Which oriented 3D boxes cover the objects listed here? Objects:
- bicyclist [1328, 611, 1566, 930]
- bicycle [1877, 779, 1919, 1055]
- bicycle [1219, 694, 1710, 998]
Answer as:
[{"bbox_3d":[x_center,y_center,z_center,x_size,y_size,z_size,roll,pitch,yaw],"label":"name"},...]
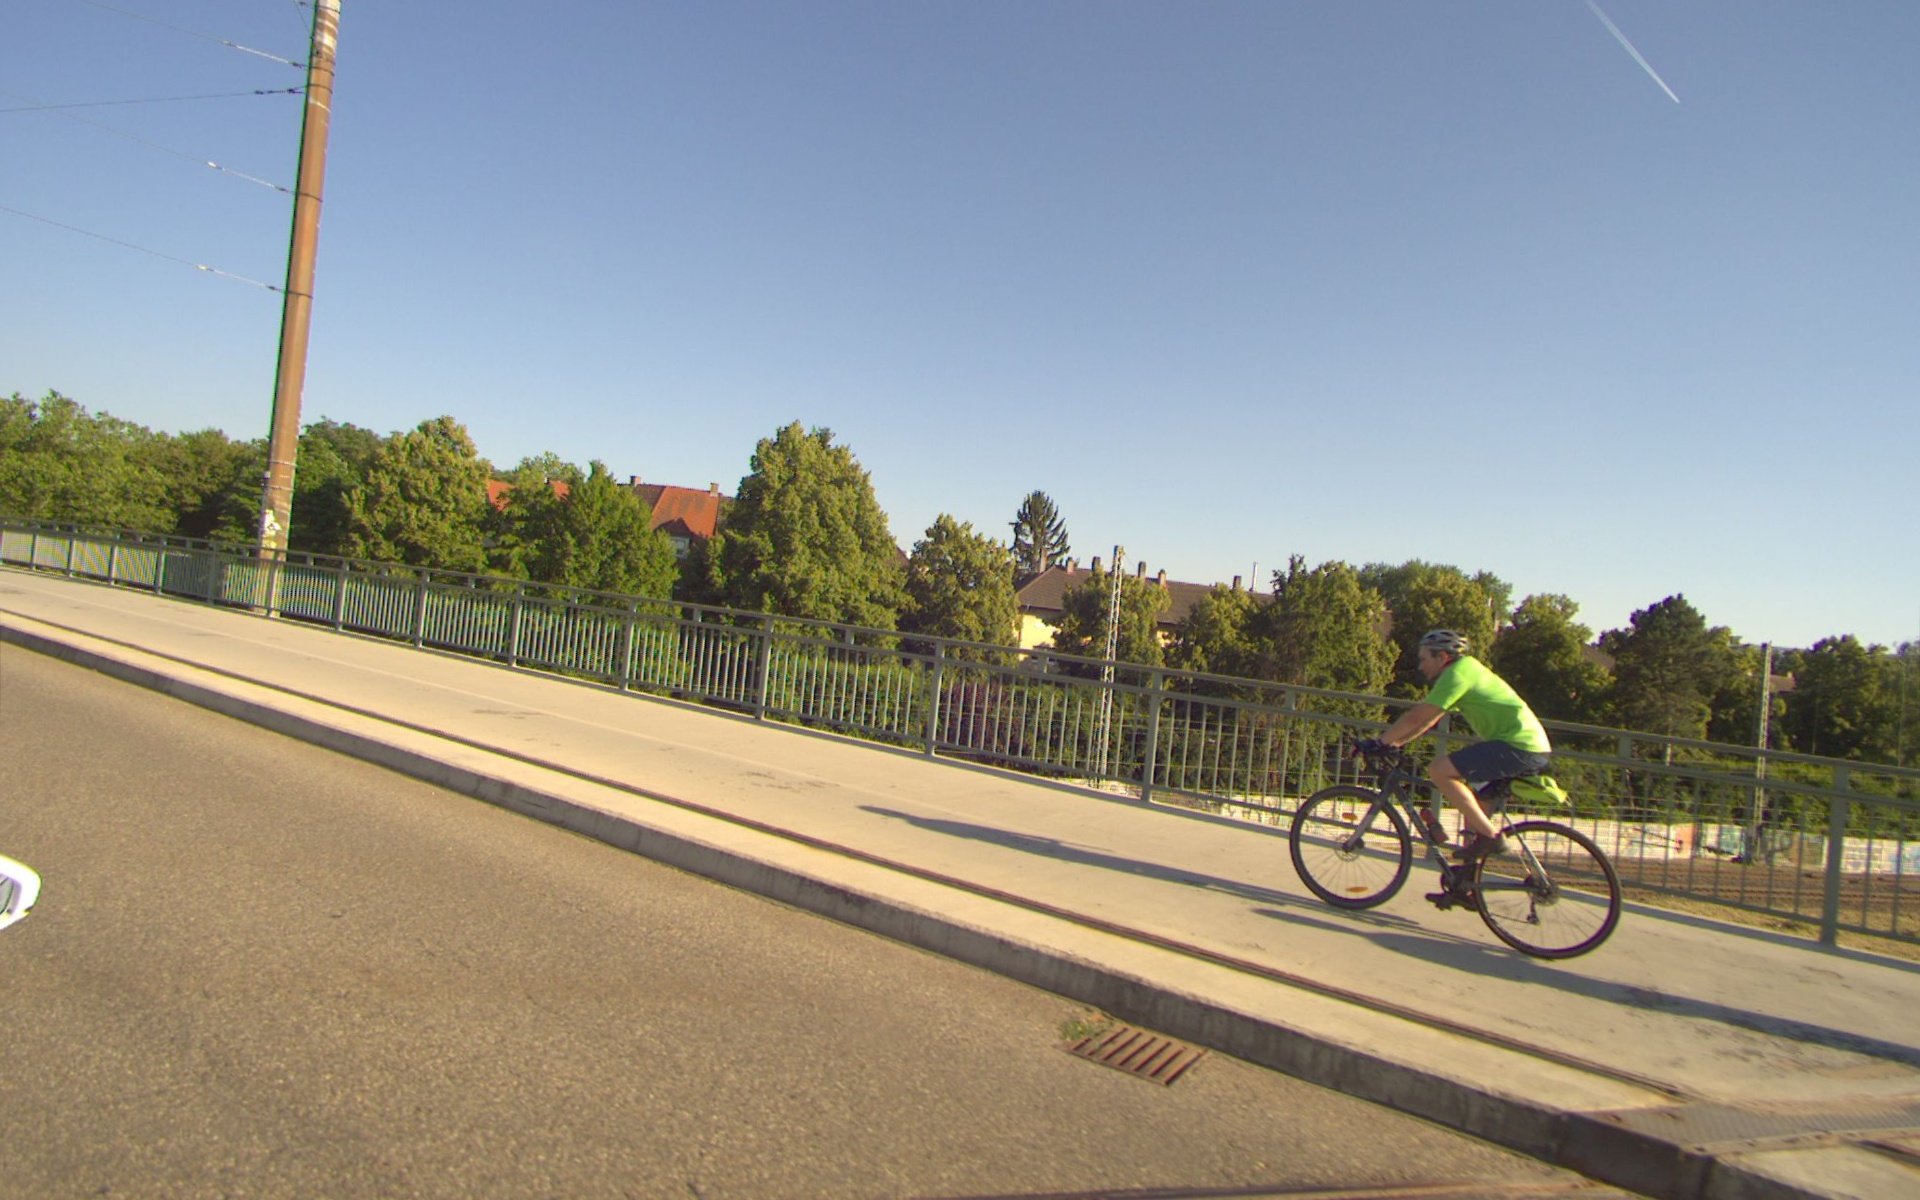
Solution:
[{"bbox_3d":[2.708,0.892,5.599,0.989,1.525,0.626,6,-1,31],"label":"bicyclist"},{"bbox_3d":[5.123,1.467,4.005,2.008,1.135,0.626,5,-2,32],"label":"bicycle"},{"bbox_3d":[2.682,1.243,5.581,2.222,1.135,0.626,6,-2,31],"label":"bicycle"}]
